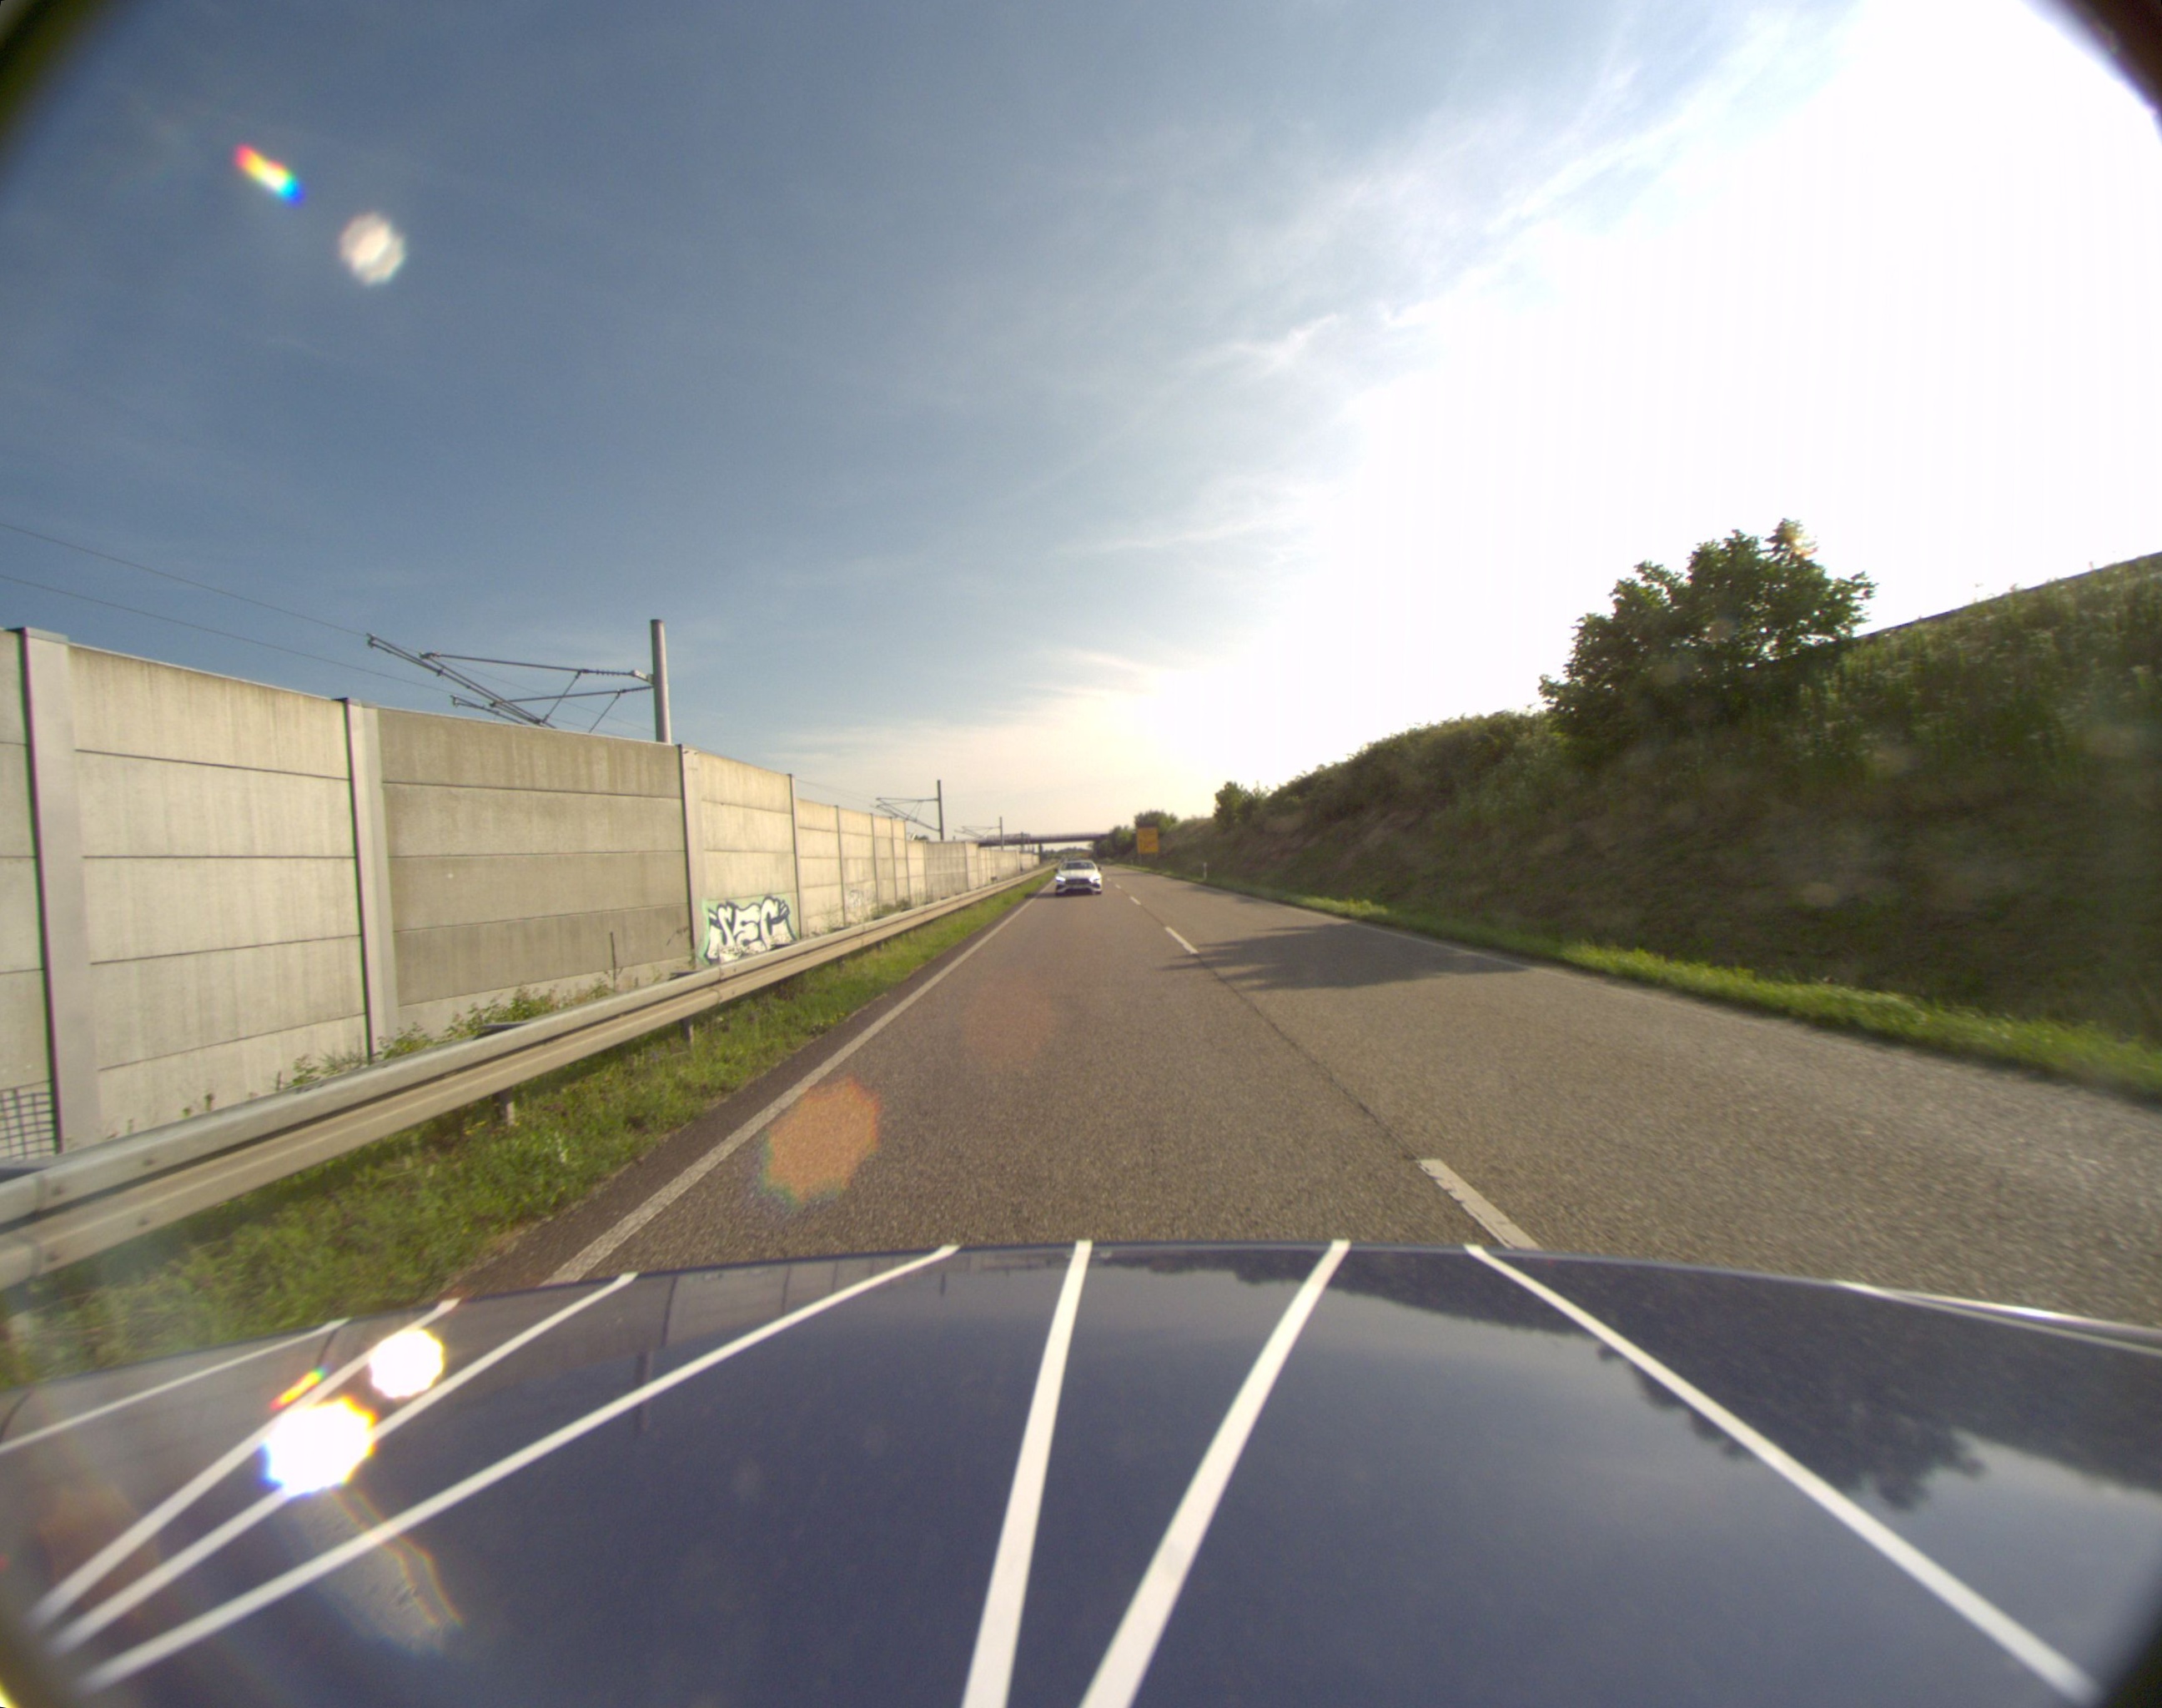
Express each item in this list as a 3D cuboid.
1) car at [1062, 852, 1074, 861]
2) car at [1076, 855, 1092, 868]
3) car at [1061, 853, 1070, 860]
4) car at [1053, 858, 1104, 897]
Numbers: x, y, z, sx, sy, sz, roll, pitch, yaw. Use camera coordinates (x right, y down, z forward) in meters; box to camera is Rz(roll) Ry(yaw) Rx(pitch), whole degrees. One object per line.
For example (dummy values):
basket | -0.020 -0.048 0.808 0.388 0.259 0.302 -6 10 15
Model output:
car | -2.357 0.437 139.441 1.930 1.399 4.973 -1 1 0
car | 0.338 0.842 91.685 1.930 1.399 4.973 -1 1 0
car | -3.525 0.521 176.084 1.930 1.399 4.973 -1 1 0
car | -0.110 0.935 32.038 1.930 1.399 4.973 -2 0 0
